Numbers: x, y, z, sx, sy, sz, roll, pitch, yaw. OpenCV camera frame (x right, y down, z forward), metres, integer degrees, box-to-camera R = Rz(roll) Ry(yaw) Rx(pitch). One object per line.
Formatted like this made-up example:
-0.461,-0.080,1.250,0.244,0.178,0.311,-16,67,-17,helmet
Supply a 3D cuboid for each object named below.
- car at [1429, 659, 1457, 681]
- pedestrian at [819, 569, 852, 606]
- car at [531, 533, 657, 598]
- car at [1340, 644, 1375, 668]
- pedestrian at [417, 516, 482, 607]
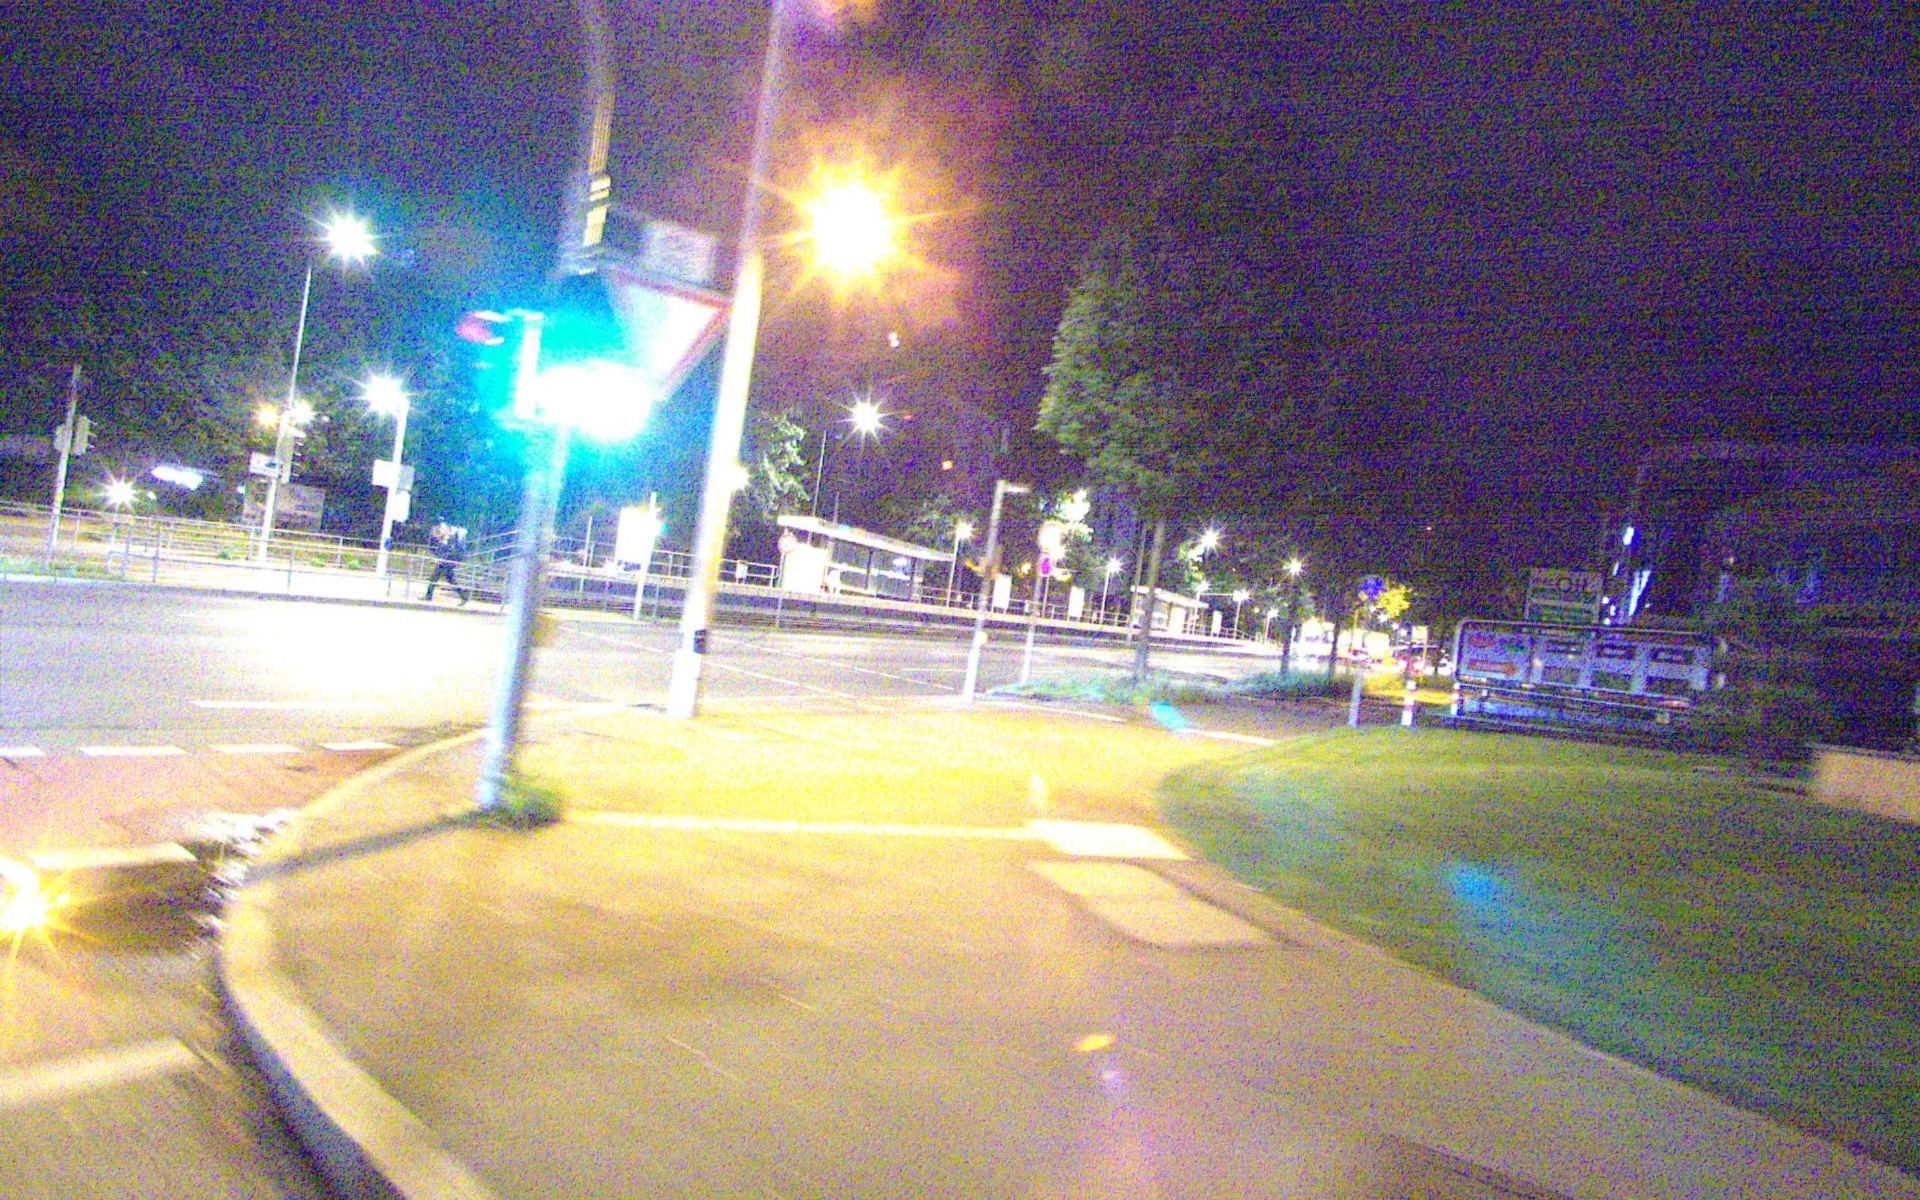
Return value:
45.578,6.555,94.857,1.780,1.685,3.988,11,4,32,car
-5.671,-0.569,45.748,1.129,1.519,1.072,6,0,-20,pedestrian
-13.805,-1.263,38.111,1.969,2.040,3.985,6,1,35,car
35.765,5.045,90.489,1.834,1.680,4.450,9,1,33,car
-10.652,-0.791,21.002,0.819,1.768,0.755,8,3,30,pedestrian
